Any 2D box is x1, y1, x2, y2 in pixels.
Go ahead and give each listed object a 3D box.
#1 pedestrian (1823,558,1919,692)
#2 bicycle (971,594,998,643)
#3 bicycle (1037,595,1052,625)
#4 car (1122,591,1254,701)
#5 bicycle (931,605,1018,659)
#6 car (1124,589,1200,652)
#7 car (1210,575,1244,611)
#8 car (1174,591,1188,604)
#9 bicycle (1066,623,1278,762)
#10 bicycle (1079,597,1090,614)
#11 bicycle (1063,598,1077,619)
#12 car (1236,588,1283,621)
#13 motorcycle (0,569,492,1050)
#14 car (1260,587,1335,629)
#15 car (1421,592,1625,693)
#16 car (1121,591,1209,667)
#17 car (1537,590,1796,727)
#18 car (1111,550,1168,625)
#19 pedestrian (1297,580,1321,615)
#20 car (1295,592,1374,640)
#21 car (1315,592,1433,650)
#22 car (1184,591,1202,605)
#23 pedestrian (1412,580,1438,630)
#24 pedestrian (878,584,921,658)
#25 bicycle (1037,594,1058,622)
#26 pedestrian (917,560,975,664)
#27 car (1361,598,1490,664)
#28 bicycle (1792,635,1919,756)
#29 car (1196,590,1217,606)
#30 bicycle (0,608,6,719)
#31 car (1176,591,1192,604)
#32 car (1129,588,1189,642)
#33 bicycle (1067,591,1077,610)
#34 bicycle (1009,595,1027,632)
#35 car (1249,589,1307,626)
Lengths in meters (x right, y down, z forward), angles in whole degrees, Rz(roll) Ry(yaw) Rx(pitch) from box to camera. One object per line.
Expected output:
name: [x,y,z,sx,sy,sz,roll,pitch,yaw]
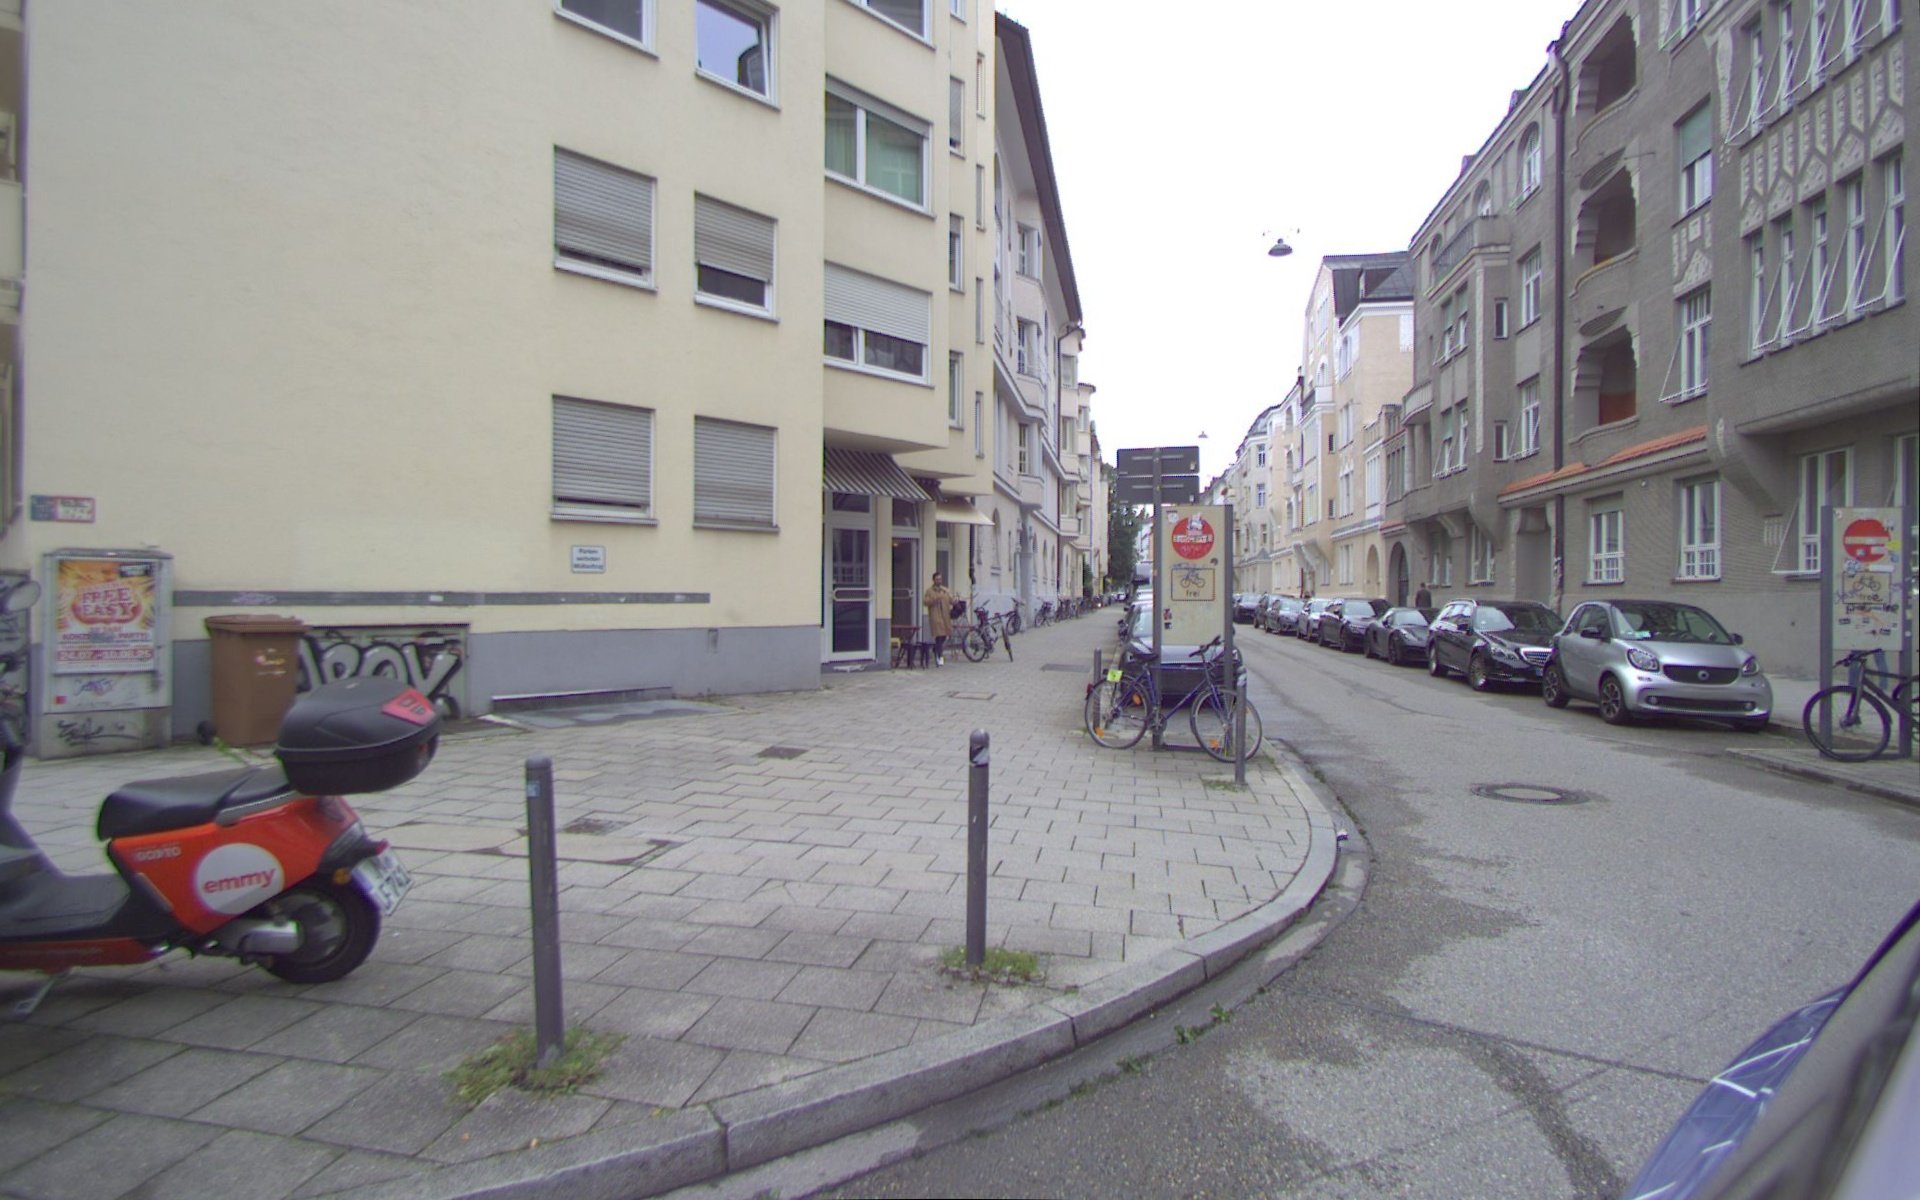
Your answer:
pedestrian: [12.828,0.334,14.125,0.829,1.810,0.932,0,0,13]
bicycle: [0.656,0.467,26.428,0.555,1.207,1.675,2,1,5]
bicycle: [3.431,0.377,40.955,0.475,1.165,1.784,3,1,8]
car: [3.494,0.618,16.208,1.670,1.490,4.601,0,0,8]
bicycle: [0.318,0.633,20.787,1.770,1.045,0.751,1,1,-45]
car: [5.309,0.483,26.975,1.611,1.556,3.849,0,0,6]
car: [20.463,-0.543,77.801,2.072,2.654,5.660,1,1,11]
car: [30.755,-0.358,140.886,1.656,1.658,3.696,0,0,8]
bicycle: [1.914,0.791,9.292,1.788,1.099,0.657,1,-1,38]
bicycle: [8.519,0.355,69.445,0.638,1.131,1.962,0,0,10]
bicycle: [6.095,0.470,55.894,0.633,1.131,1.962,0,0,10]
car: [16.121,0.207,54.637,1.926,1.679,4.603,0,0,10]
motorcycle: [-2.732,0.596,3.316,2.041,1.373,0.819,0,0,-12]
car: [13.051,0.279,39.399,1.811,1.532,4.600,0,1,6]
car: [9.658,0.623,17.803,1.733,1.534,4.692,0,0,11]
car: [4.341,0.558,21.832,1.612,1.490,3.846,0,0,8]
car: [8.994,0.652,13.172,1.682,1.534,2.902,1,1,11]
car: [7.840,-0.580,44.488,2.225,2.996,6.117,-1,1,10]
pedestrian: [17.930,-0.121,51.989,0.980,1.750,0.937,0,0,10]
car: [12.466,0.490,33.946,1.783,1.449,4.424,2,1,11]
car: [11.462,0.513,28.396,1.967,1.466,4.767,0,1,8]
car: [25.934,-0.235,112.937,1.656,1.416,3.696,0,0,8]
pedestrian: [17.362,0.197,37.800,0.707,1.840,0.728,0,0,10]
pedestrian: [-1.195,0.404,19.964,0.531,1.416,0.663,0,0,43]
bicycle: [3.777,0.348,43.458,0.477,1.165,1.777,0,0,18]
pedestrian: [-0.272,0.221,19.123,0.726,1.871,1.018,4,-1,-18]
car: [10.525,0.637,23.176,1.733,1.348,4.083,0,0,11]
bicycle: [8.629,0.838,9.049,1.778,1.028,0.539,-1,0,10]
car: [23.605,-0.195,97.011,1.657,1.416,3.694,0,0,10]
bicycle: [-9.606,0.621,9.719,0.571,1.067,1.759,0,0,-41]
car: [28.842,-0.322,130.311,1.656,1.658,3.696,0,0,8]
car: [6.273,0.426,32.183,1.611,1.612,3.960,0,0,8]
bicycle: [6.966,0.037,62.765,0.486,1.131,1.962,0,0,10]
bicycle: [1.909,0.435,33.181,0.475,1.165,1.784,0,0,8]
car: [14.306,0.304,45.676,1.777,1.592,3.807,0,0,6]
